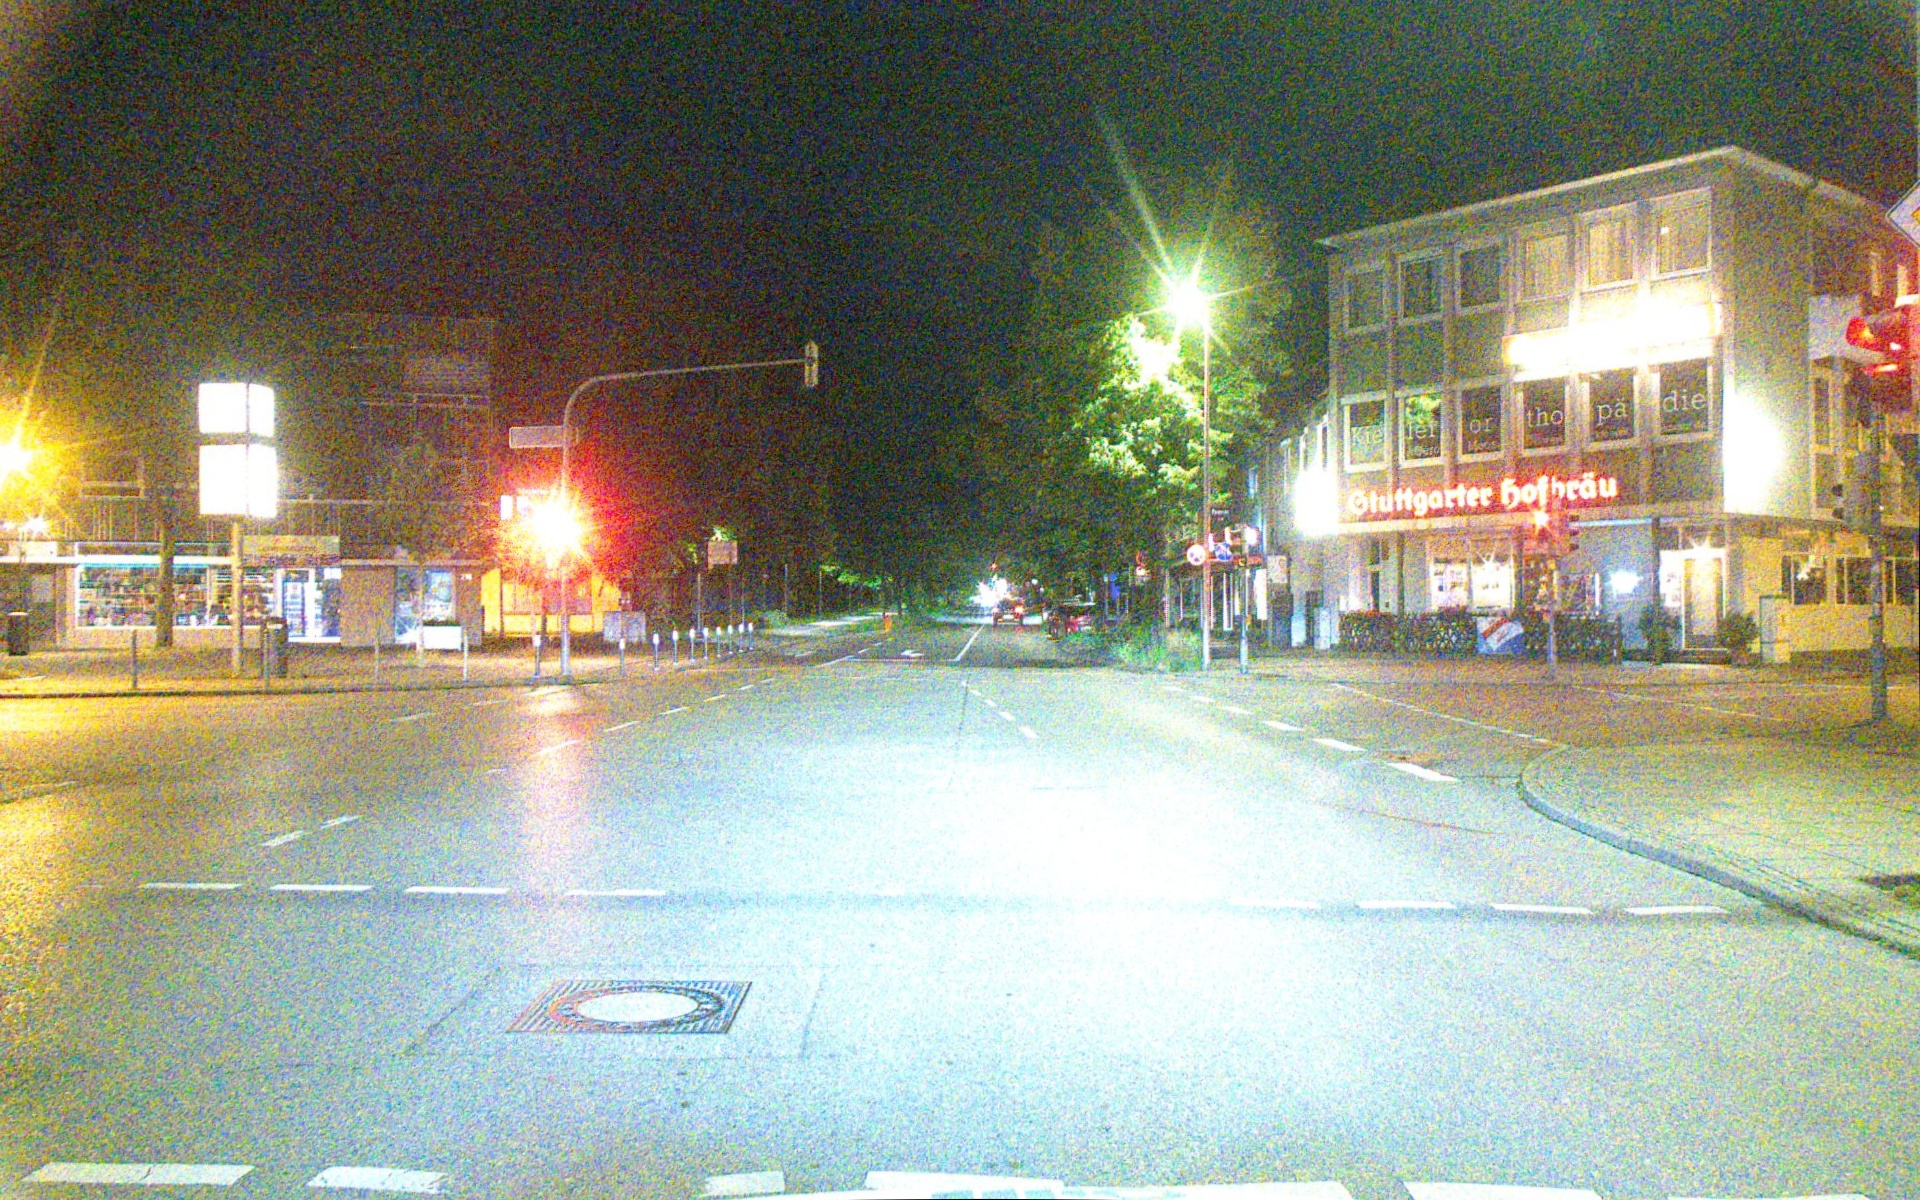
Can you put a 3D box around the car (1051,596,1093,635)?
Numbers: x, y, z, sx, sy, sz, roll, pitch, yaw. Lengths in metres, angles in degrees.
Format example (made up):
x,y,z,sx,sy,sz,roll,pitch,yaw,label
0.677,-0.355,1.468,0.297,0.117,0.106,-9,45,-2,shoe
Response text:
x,y,z,sx,sy,sz,roll,pitch,yaw,label
5.156,0.711,76.537,1.837,1.759,4.001,0,0,2,car

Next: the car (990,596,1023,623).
x,y,z,sx,sy,sz,roll,pitch,yaw,label
2.712,0.541,96.692,1.835,1.479,4.317,1,0,1,car

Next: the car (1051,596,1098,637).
x,y,z,sx,sy,sz,roll,pitch,yaw,label
4.732,0.682,68.860,1.837,1.643,4.001,0,0,2,car

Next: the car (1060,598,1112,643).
x,y,z,sx,sy,sz,roll,pitch,yaw,label
4.801,0.771,63.635,1.837,1.643,4.001,0,0,2,car

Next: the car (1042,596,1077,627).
x,y,z,sx,sy,sz,roll,pitch,yaw,label
5.667,0.665,94.570,1.837,1.713,4.001,0,0,2,car
